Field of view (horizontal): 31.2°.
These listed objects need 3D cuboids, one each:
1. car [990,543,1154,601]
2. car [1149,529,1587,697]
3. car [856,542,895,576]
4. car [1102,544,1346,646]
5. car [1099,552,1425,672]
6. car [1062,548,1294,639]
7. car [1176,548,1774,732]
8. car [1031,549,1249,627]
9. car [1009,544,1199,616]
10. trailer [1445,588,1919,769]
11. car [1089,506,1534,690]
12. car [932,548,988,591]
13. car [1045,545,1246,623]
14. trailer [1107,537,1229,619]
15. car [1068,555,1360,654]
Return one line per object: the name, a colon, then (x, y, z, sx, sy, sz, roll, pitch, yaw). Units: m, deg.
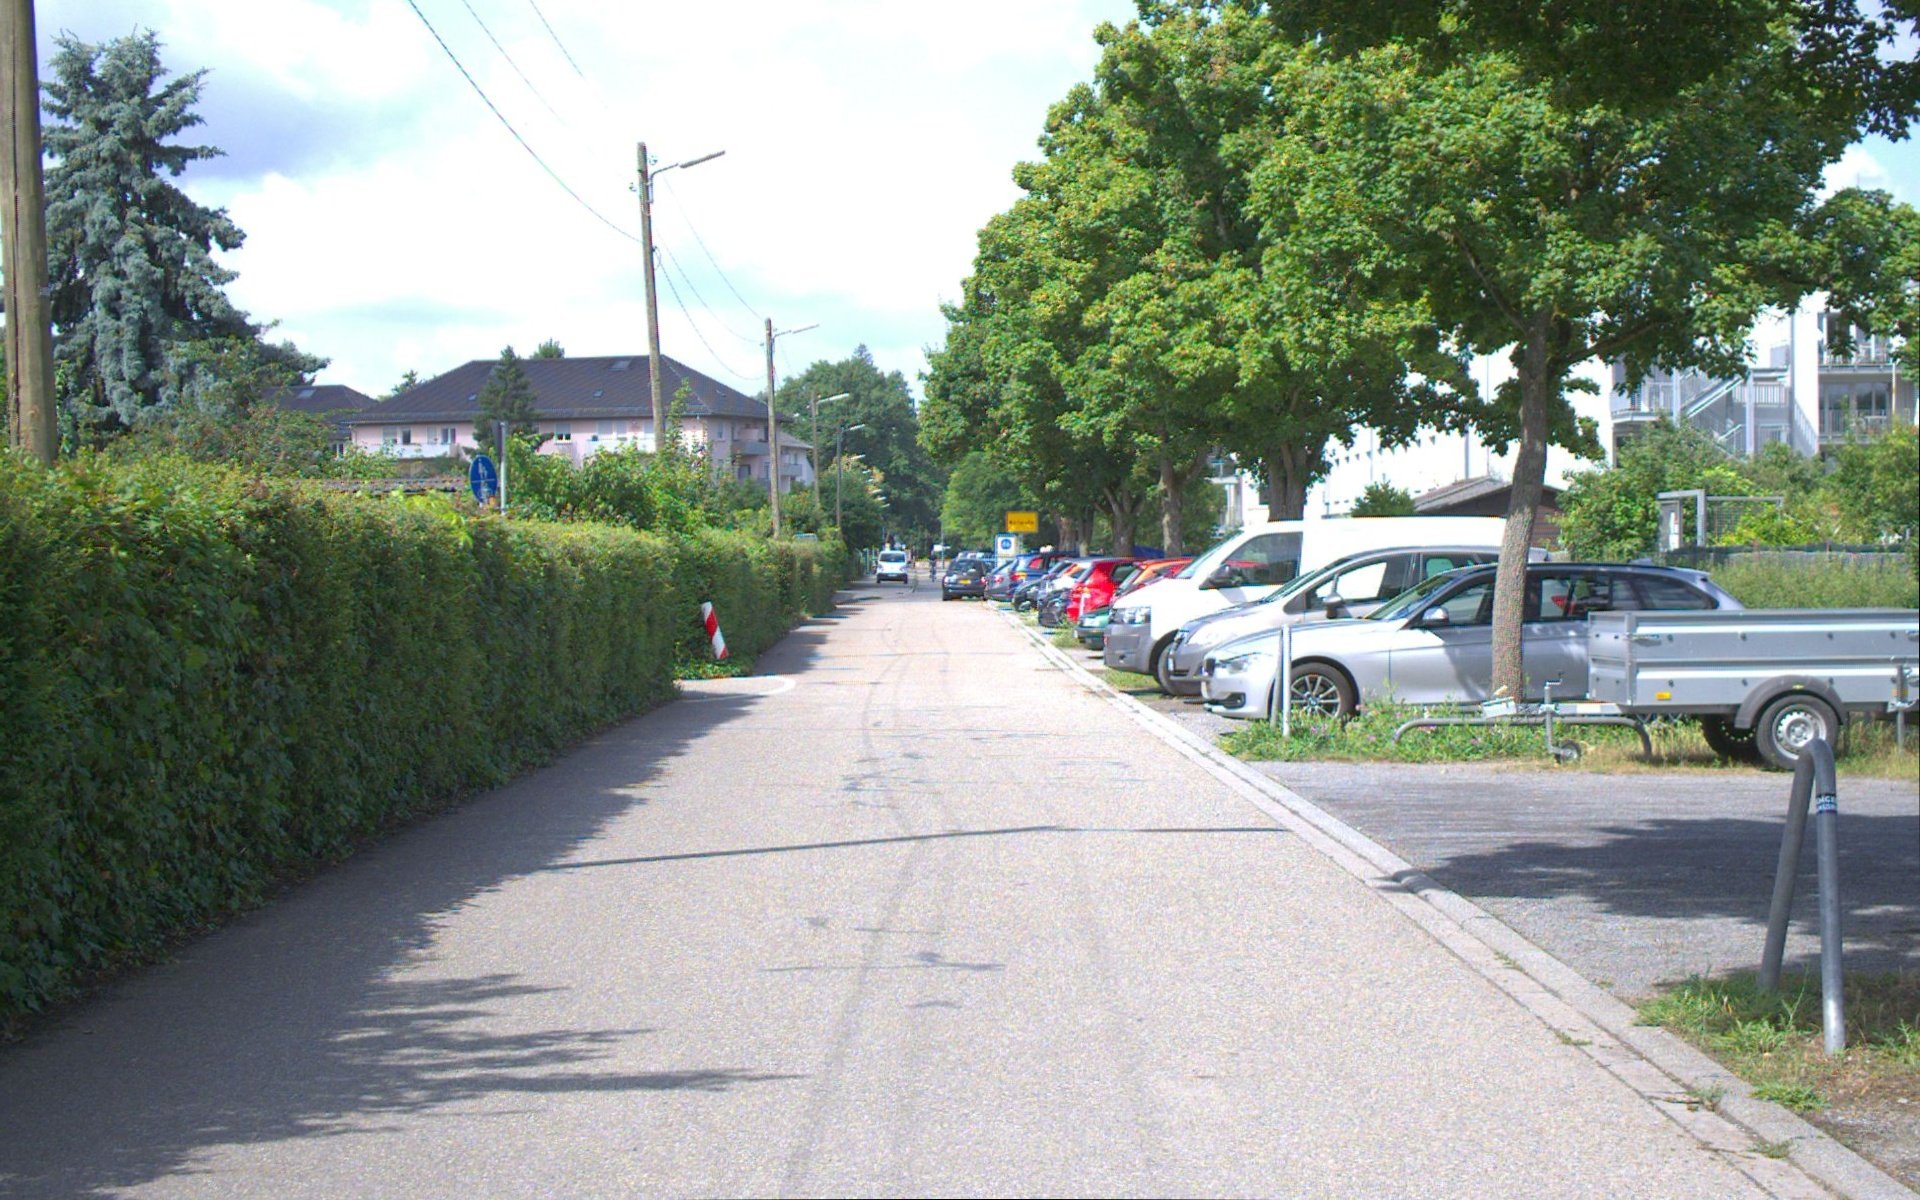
car: (3.159, -0.792, 97.750, 4.548, 1.573, 1.809, 1, 0, -1)
car: (4.142, 0.115, 35.412, 4.243, 1.587, 2.000, -1, 1, 0)
car: (-4.668, -2.278, 191.137, 1.903, 1.808, 4.000, 1, 0, 2)
car: (4.249, -0.091, 55.754, 3.764, 1.568, 1.870, 1, 0, -1)
car: (3.979, 0.154, 45.808, 4.183, 1.499, 1.878, 1, 0, 1)
car: (3.822, -0.120, 60.554, 3.987, 1.514, 1.854, 1, 0, 3)
car: (4.186, 0.301, 28.457, 4.577, 1.461, 2.000, 0, 1, -3)
car: (3.491, -0.238, 67.235, 4.065, 1.450, 1.870, 1, 0, -2)
car: (3.343, -0.470, 80.506, 4.302, 1.588, 2.000, 1, 0, -1)
trailer: (5.054, 0.520, 23.727, 3.100, 1.138, 2.000, 1, 0, 0)
car: (3.839, -0.043, 38.155, 4.634, 1.880, 2.112, -1, 1, -2)
car: (0.019, -1.088, 122.558, 1.663, 1.501, 3.999, 1, 0, 4)
car: (3.812, -0.336, 70.842, 4.065, 1.506, 1.957, 1, 0, 3)
trailer: (4.532, -0.497, 75.036, 2.449, 1.714, 1.518, 1, 1, -4)
car: (3.889, 0.065, 53.030, 4.238, 1.423, 1.908, 1, 0, -4)
